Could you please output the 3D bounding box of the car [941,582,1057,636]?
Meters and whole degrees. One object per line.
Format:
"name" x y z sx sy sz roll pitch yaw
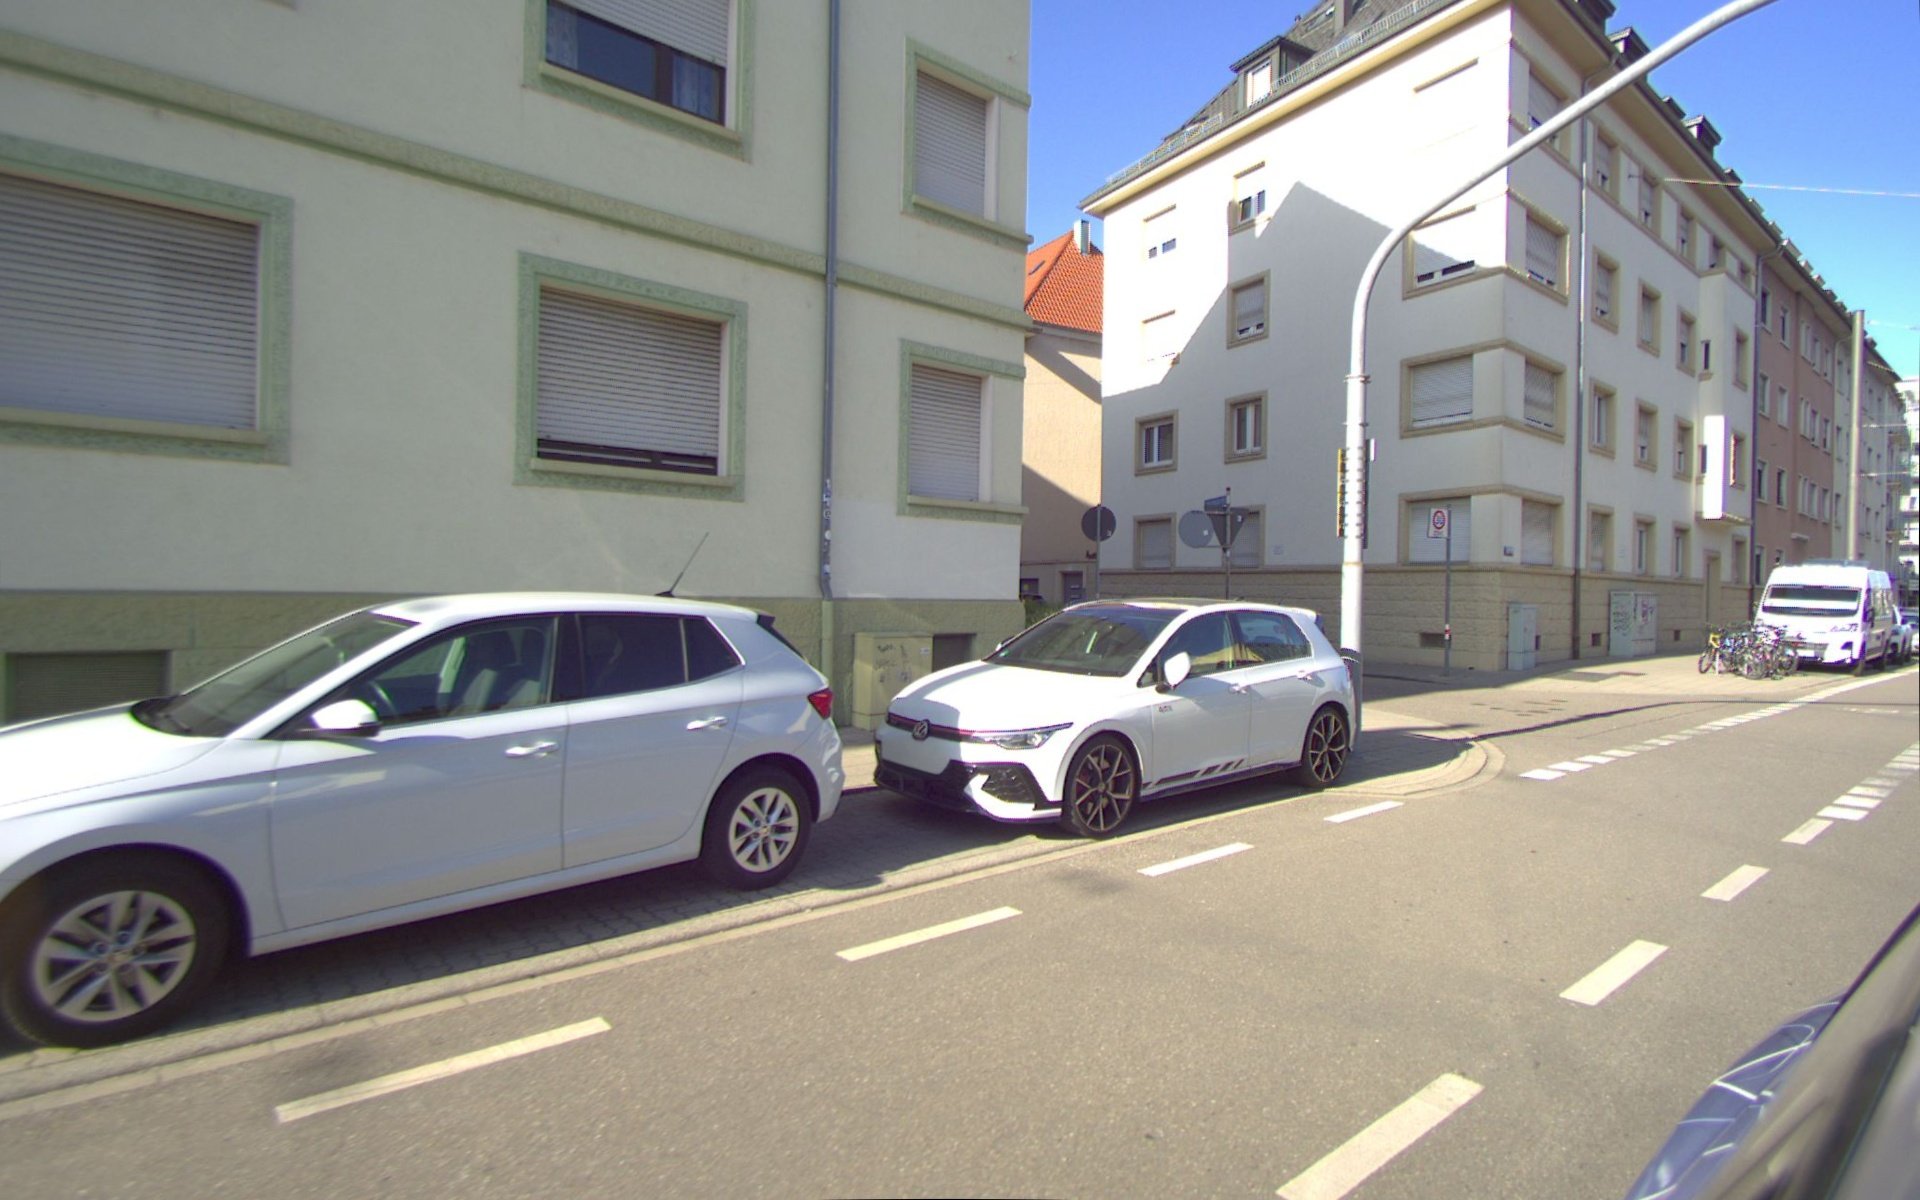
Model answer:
"car" 1.145 0.313 31.638 1.678 1.567 4.135 0 -2 -30

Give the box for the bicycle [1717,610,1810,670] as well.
"bicycle" 16.754 0.812 21.165 0.465 1.100 1.917 -2 2 2

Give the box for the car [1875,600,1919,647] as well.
"car" 32.840 0.814 34.634 3.981 1.478 1.626 1 3 -39

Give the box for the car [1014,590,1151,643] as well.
"car" 3.284 0.469 27.815 1.678 1.355 3.975 0 -2 -30

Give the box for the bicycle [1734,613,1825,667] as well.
"bicycle" 17.564 0.847 21.741 0.478 1.101 2.024 -1 -1 7

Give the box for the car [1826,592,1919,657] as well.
"car" 26.417 0.661 29.049 4.497 1.657 1.850 0 2 -43

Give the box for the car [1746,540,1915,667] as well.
"car" 21.345 0.041 24.701 6.181 2.729 2.155 0 2 -41

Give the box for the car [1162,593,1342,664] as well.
"car" 6.428 0.619 22.635 1.678 1.443 3.744 0 -2 -30

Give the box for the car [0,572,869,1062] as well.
"car" -2.498 0.653 4.655 4.014 1.476 1.637 0 1 -45

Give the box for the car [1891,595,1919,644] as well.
"car" 36.425 0.777 37.930 4.414 1.718 1.804 1 3 -43

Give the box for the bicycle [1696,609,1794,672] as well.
"bicycle" 15.797 0.779 20.427 0.465 1.100 1.917 3 2 2

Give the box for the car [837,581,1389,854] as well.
"car" 1.353 0.652 7.634 4.301 1.476 1.698 1 1 -40
